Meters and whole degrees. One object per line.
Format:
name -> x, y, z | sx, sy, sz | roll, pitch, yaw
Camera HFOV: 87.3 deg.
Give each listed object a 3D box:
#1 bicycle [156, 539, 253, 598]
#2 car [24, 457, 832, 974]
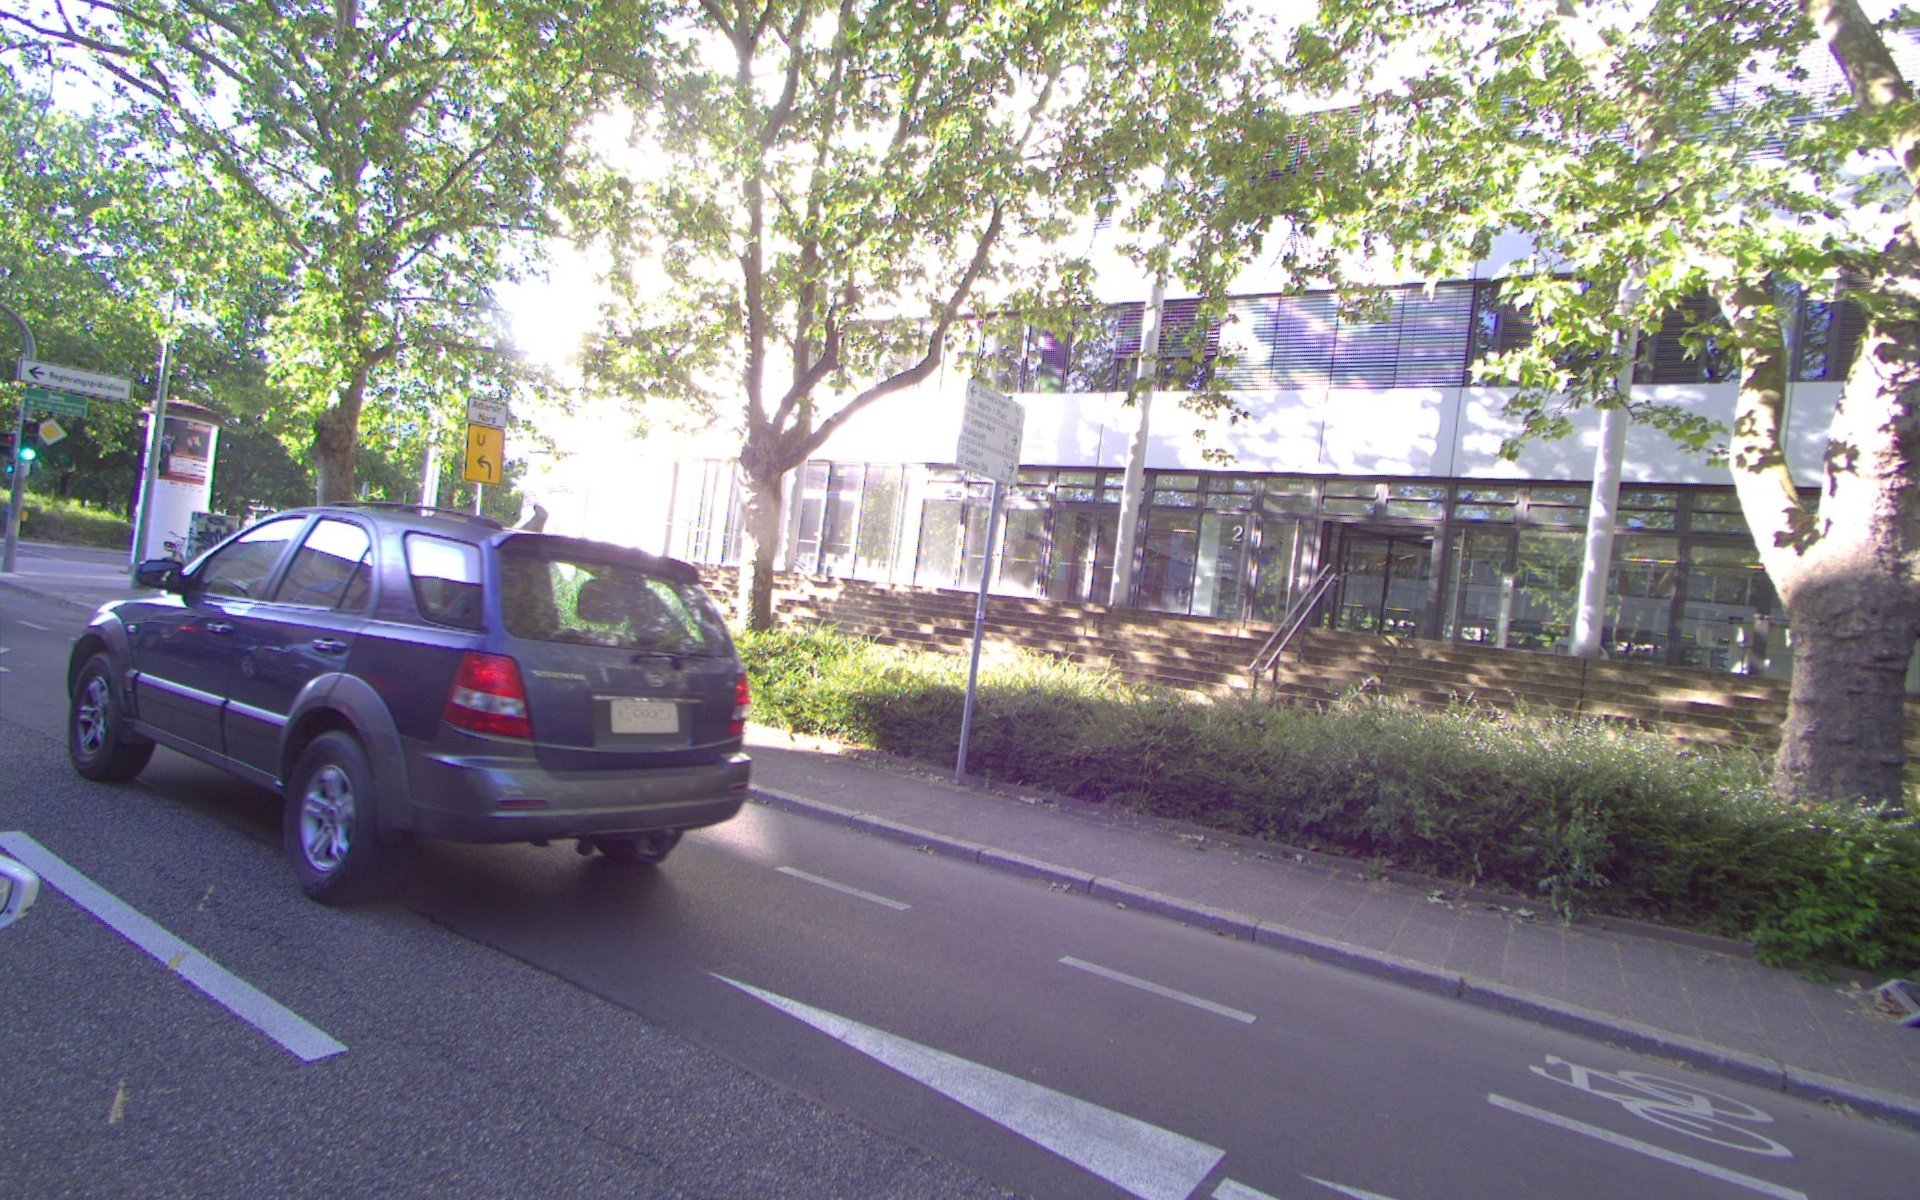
bicycle -> -15.905, -0.637, 21.245 | 0.631, 1.040, 1.887 | 7, -2, -5
car -> -3.112, 0.343, 5.614 | 4.407, 1.784, 1.865 | 7, -1, 32
